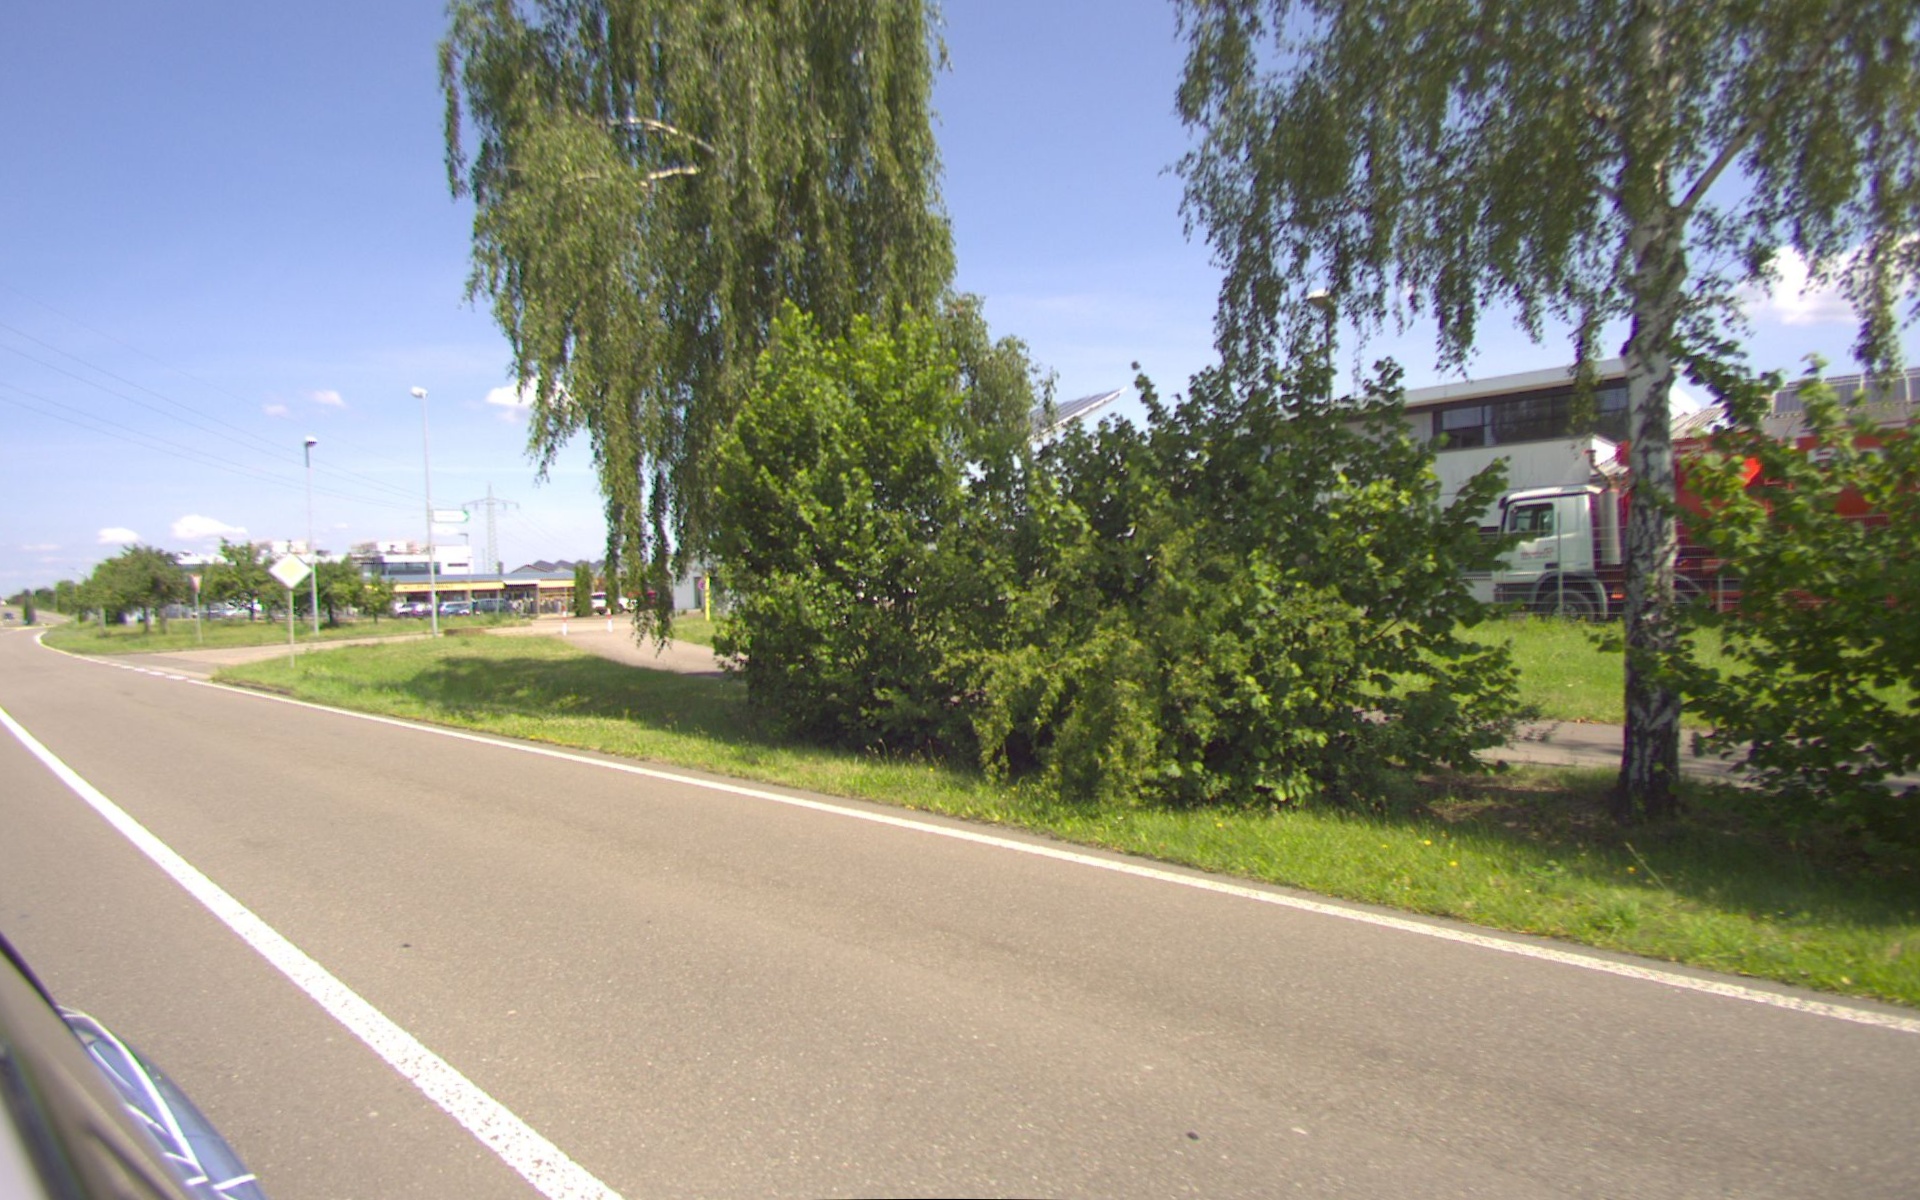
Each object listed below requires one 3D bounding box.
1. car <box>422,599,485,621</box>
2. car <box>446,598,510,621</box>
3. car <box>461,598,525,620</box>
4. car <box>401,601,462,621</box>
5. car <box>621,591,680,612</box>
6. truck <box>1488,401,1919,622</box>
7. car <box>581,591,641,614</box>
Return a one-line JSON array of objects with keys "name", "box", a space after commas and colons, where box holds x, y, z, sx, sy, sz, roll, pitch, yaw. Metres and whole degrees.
[{"name": "car", "box": [-40.895, 0.767, 81.830, 1.870, 1.656, 4.166, -1, 0, 41]}, {"name": "car", "box": [-38.330, 0.737, 80.572, 1.870, 1.677, 4.166, -1, 0, 41]}, {"name": "car", "box": [-36.525, 0.698, 79.168, 1.870, 1.656, 4.166, -1, 0, 41]}, {"name": "car", "box": [-44.672, 0.931, 85.569, 1.870, 1.612, 4.166, -1, 0, 41]}, {"name": "car", "box": [-24.207, 0.105, 79.314, 3.955, 1.597, 1.994, -1, 0, 10]}, {"name": "truck", "box": [16.055, -1.474, 18.840, 10.596, 3.672, 3.067, -1, 0, 44]}, {"name": "car", "box": [-26.442, 0.186, 76.673, 3.967, 1.663, 1.988, -1, 0, 19]}]
